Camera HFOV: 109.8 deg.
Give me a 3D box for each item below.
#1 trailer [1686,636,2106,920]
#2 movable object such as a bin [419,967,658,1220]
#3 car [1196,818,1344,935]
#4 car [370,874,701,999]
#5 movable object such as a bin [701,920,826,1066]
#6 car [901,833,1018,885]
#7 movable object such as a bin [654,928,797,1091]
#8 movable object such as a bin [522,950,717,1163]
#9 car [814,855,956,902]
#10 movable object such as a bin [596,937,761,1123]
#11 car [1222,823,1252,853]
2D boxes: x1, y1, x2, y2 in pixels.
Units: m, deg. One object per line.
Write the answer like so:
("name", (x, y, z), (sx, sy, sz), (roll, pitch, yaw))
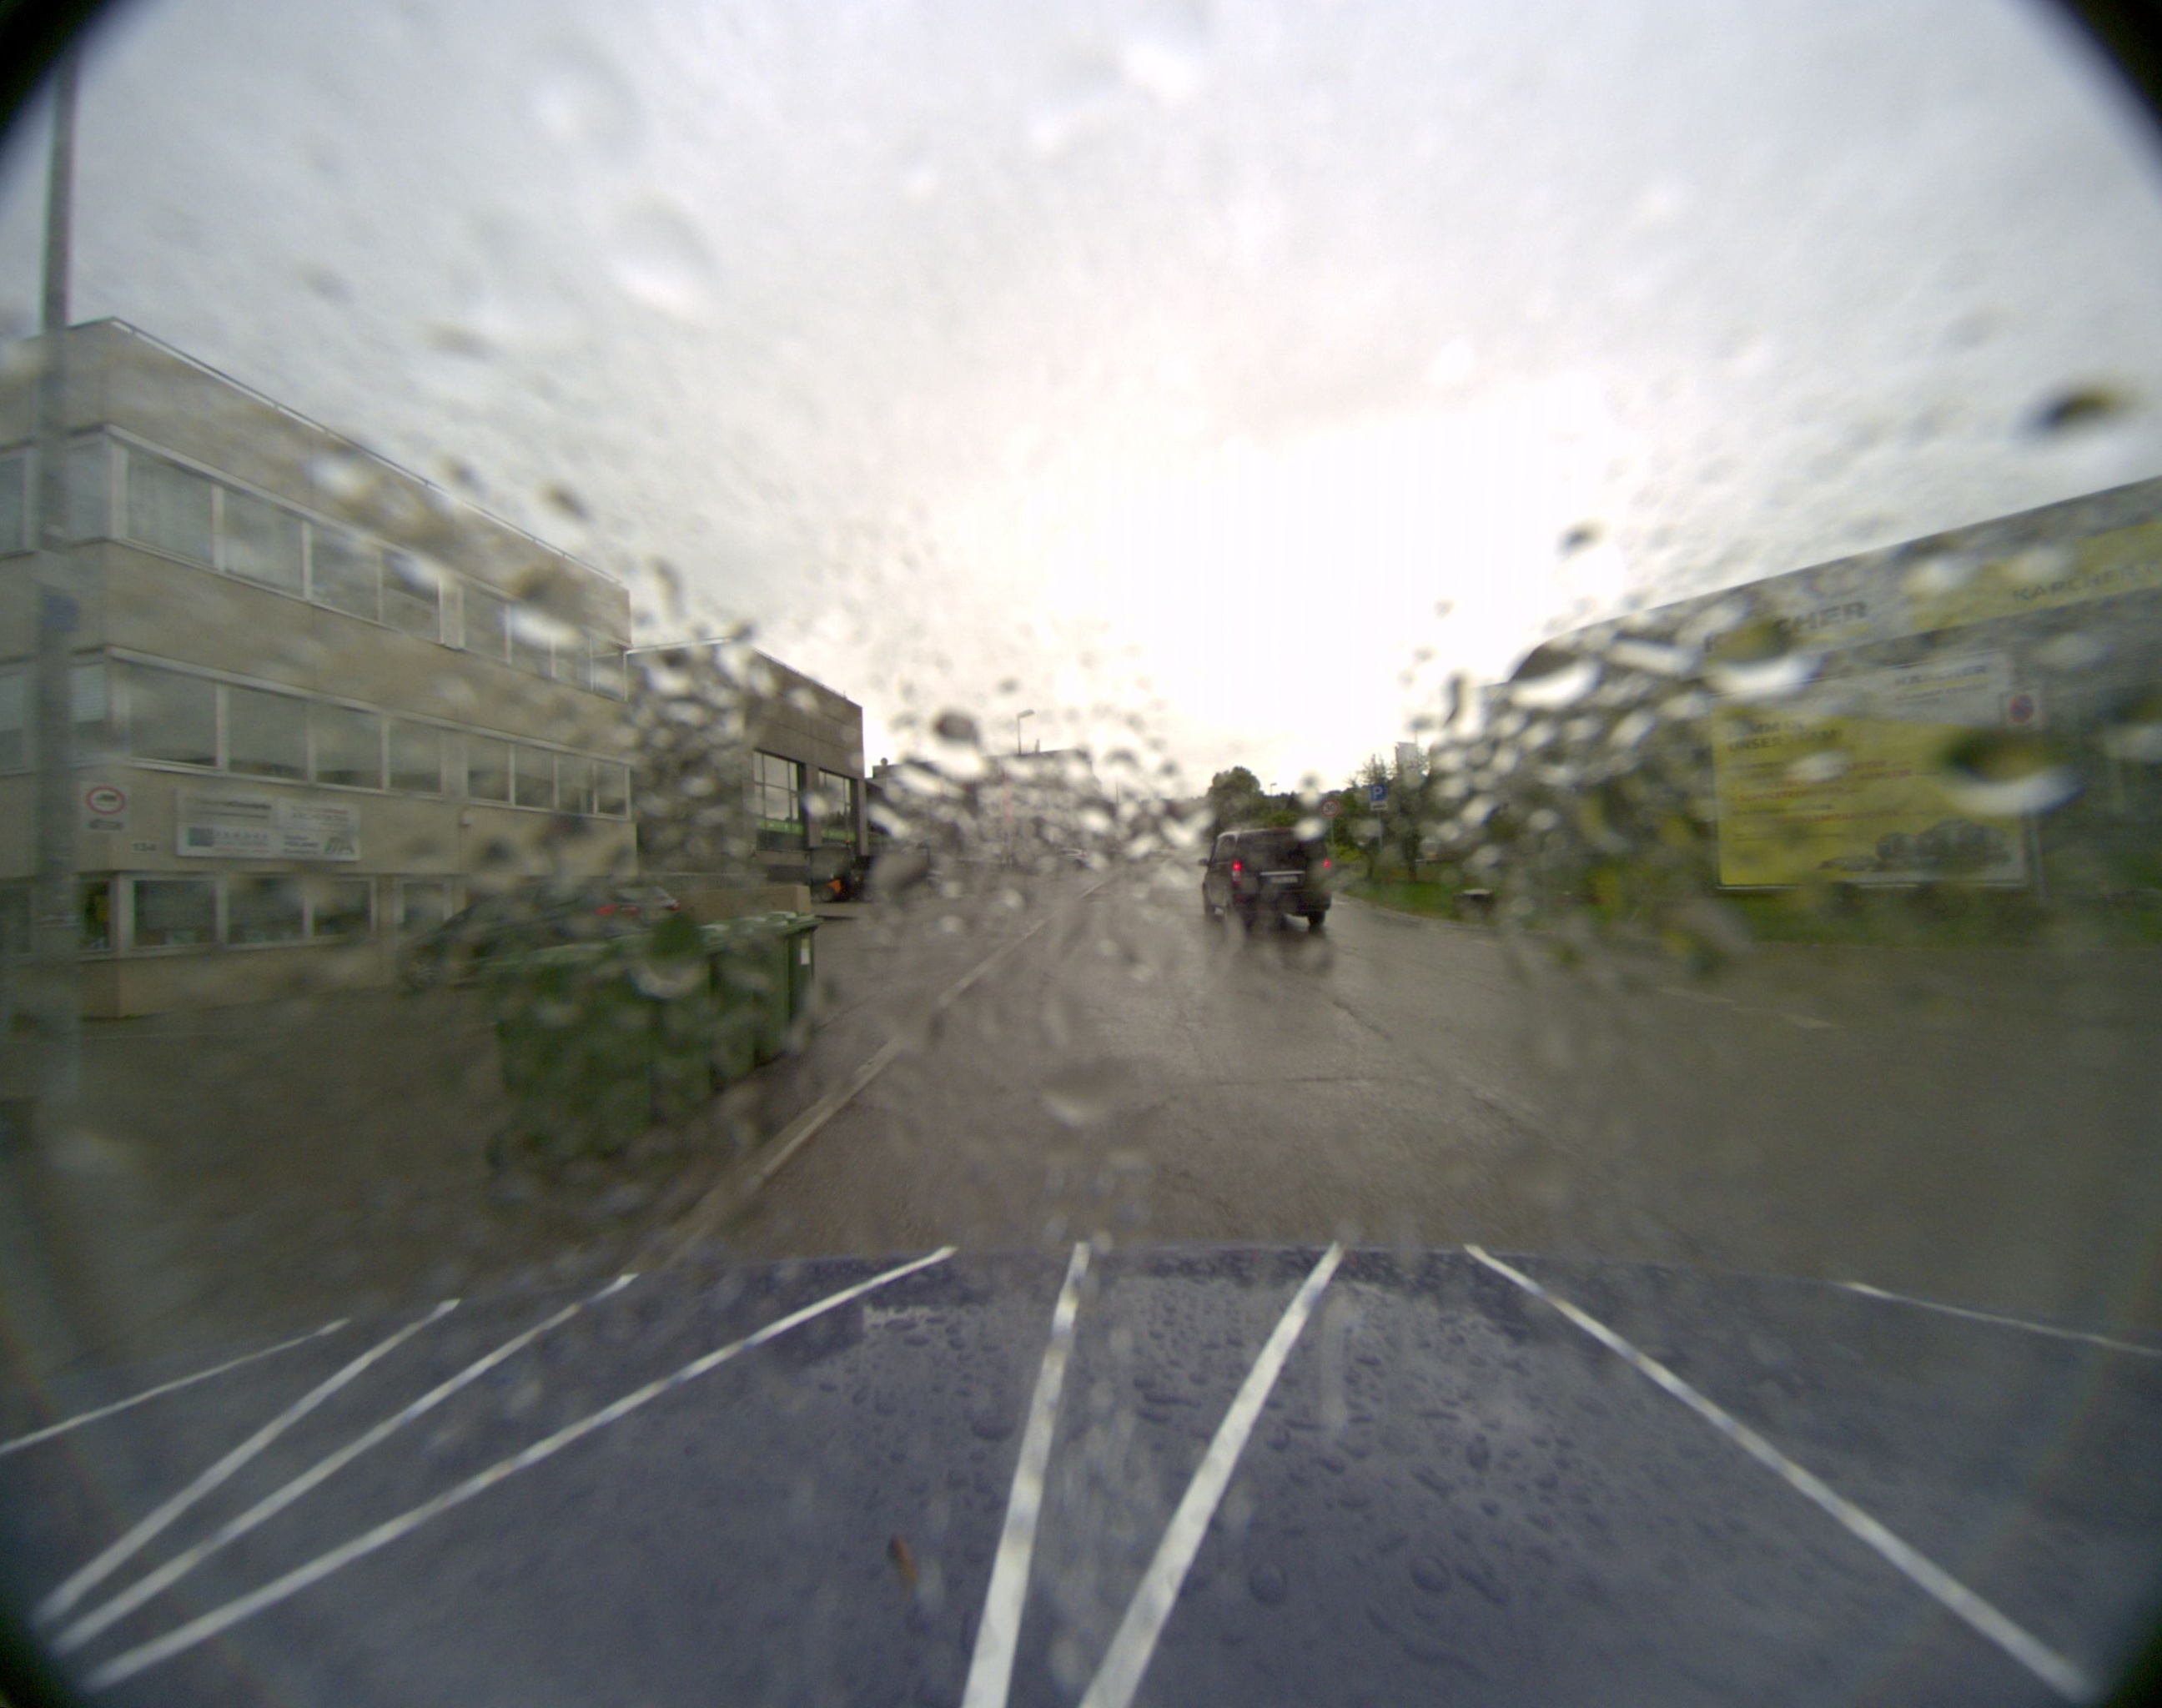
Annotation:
("trailer", (13.872, -1.080, 13.386), (2.393, 4.066, 4.687), (-3, 1, -44))
("movable object such as a bin", (-2.724, 1.177, 3.881), (0.736, 1.084, 0.594), (-2, 1, 2))
("car", (3.697, 0.383, 15.763), (2.067, 2.002, 4.512), (-3, 1, 3))
("car", (-7.913, 1.166, 11.211), (3.747, 1.531, 1.631), (-3, 1, 6))
("movable object such as a bin", (-2.616, 1.132, 6.320), (0.736, 1.084, 0.594), (-2, 1, 2))
("car", (-5.935, 0.222, 37.444), (5.149, 2.281, 2.203), (-2, 1, 9))
("movable object such as a bin", (-2.639, 1.138, 5.706), (0.736, 1.084, 0.594), (-2, 1, 2))
("movable object such as a bin", (-2.694, 1.161, 4.497), (0.736, 1.084, 0.594), (-2, 1, 2))
("car", (-7.173, 0.876, 28.054), (4.620, 1.488, 1.942), (-2, 1, 7))
("movable object such as a bin", (-2.669, 1.150, 5.101), (0.736, 1.084, 0.594), (-2, 1, 2))
("car", (11.498, -1.150, 55.863), (1.996, 2.002, 4.004), (-2, 0, 13))
